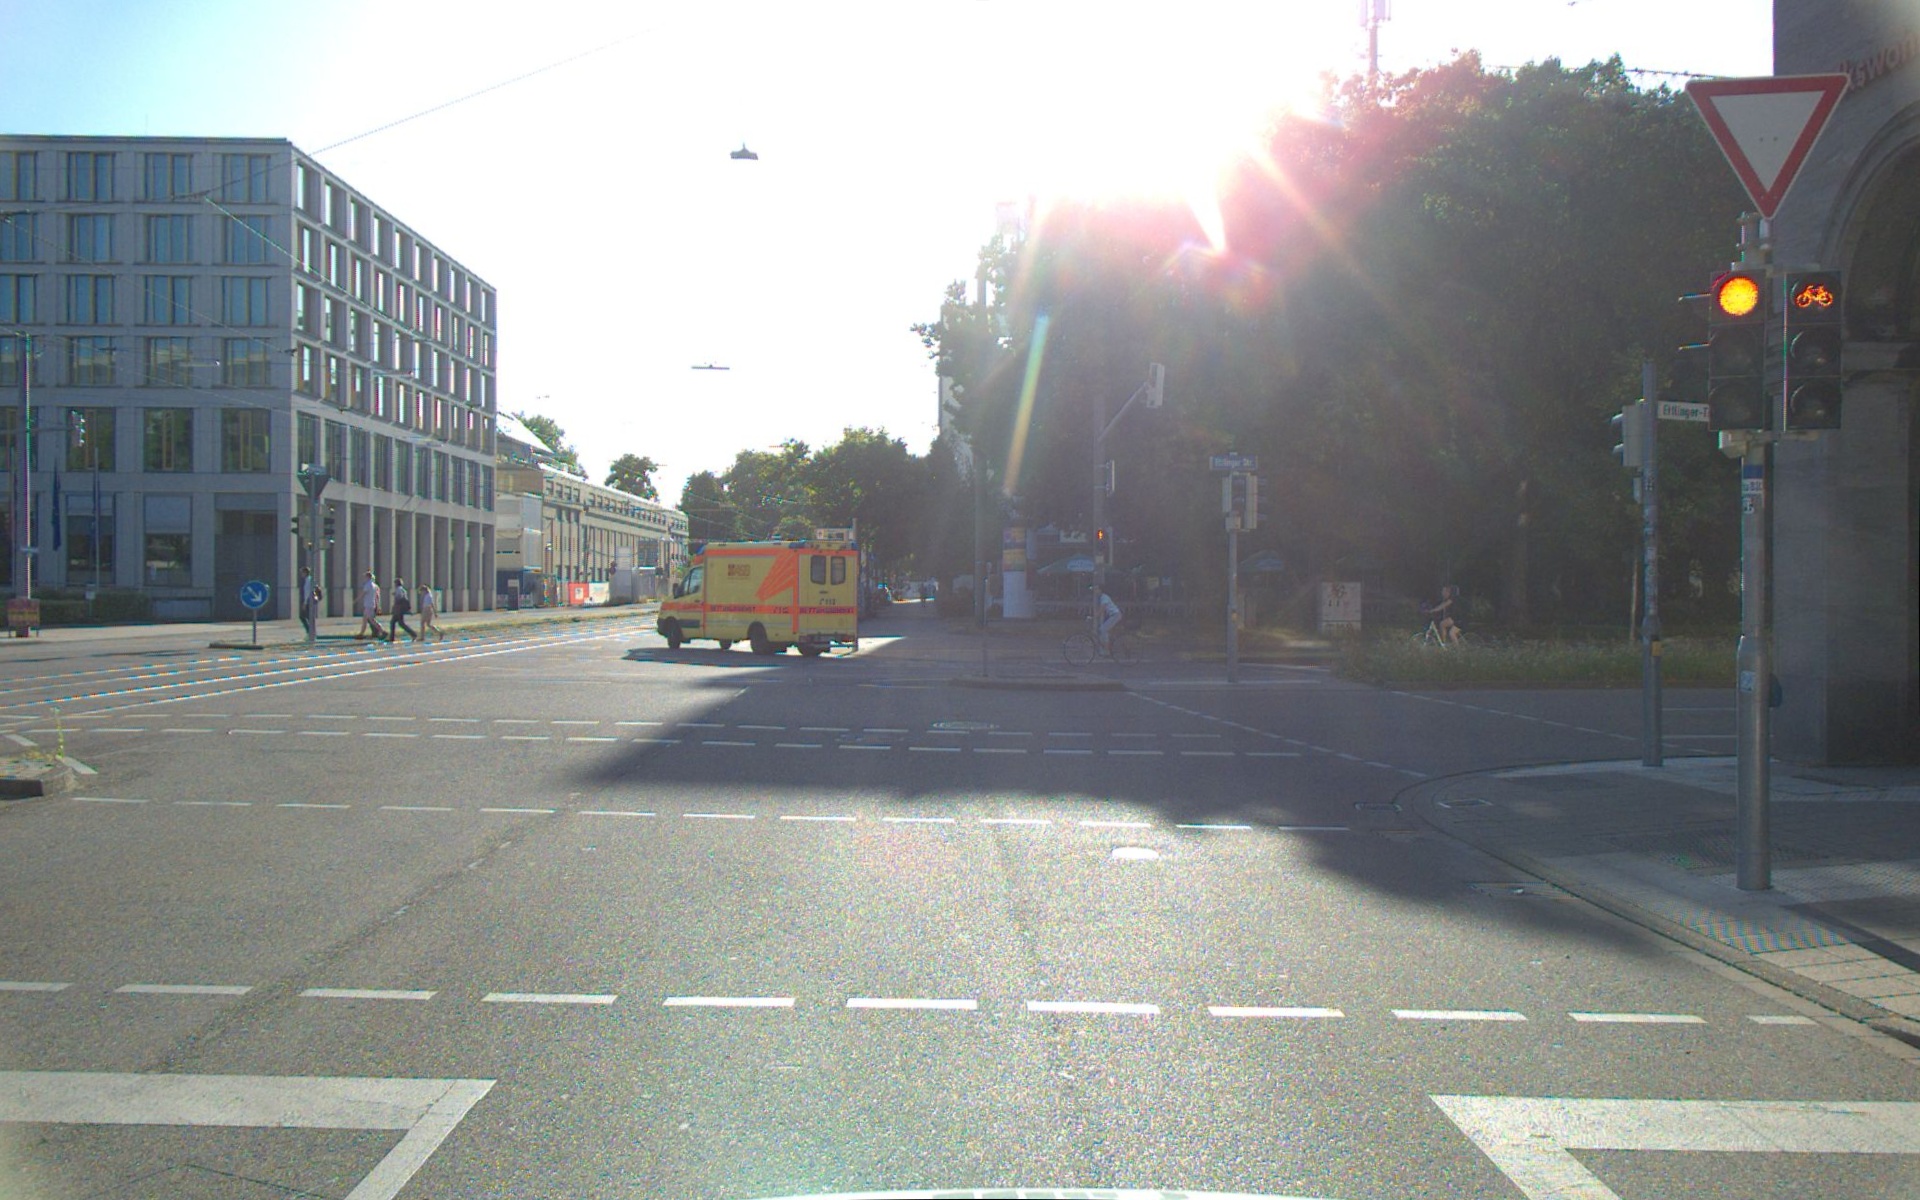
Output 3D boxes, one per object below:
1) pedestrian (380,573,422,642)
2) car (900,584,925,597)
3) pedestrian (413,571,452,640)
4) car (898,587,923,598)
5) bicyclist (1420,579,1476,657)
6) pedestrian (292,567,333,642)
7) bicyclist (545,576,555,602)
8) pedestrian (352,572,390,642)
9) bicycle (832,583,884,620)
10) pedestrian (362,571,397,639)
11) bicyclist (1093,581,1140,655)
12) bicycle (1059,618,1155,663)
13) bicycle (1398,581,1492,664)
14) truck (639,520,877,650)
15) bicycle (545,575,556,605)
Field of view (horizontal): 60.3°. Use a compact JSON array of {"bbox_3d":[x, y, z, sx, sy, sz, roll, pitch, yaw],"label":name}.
[{"bbox_3d":[-14.795,0.197,43.794,0.852,1.835,0.664,0,0,4],"label":"pedestrian"},{"bbox_3d":[-6.141,-1.173,213.356,3.152,1.616,1.445,1,0,-5],"label":"car"},{"bbox_3d":[-14.253,0.150,44.719,0.851,1.835,0.532,0,0,4],"label":"pedestrian"},{"bbox_3d":[-6.317,-0.957,211.142,3.152,1.285,1.373,1,0,-1],"label":"car"},{"bbox_3d":[10.589,0.395,35.896,1.052,1.669,0.597,0,0,3],"label":"bicyclist"},{"bbox_3d":[-16.863,0.115,43.092,0.785,1.951,0.637,0,0,4],"label":"pedestrian"},{"bbox_3d":[-32.125,-0.883,129.634,0.559,2.059,0.761,0,0,-2],"label":"bicyclist"},{"bbox_3d":[-15.759,0.184,44.235,0.723,1.835,0.716,0,0,4],"label":"pedestrian"},{"bbox_3d":[-4.999,0.081,81.289,2.495,1.774,1.037,1,0,-1],"label":"bicycle"},{"bbox_3d":[-15.823,0.129,45.102,0.723,1.835,0.532,0,0,4],"label":"pedestrian"},{"bbox_3d":[3.391,0.382,35.841,0.955,1.587,0.574,0,0,-2],"label":"bicyclist"},{"bbox_3d":[3.179,0.877,35.827,2.023,0.949,0.574,0,0,-2],"label":"bicycle"},{"bbox_3d":[10.520,0.480,35.903,1.857,1.765,0.597,0,0,3],"label":"bicycle"},{"bbox_3d":[-5.255,-0.358,42.262,6.380,3.068,2.706,0,0,45],"label":"truck"},{"bbox_3d":[-32.122,-0.764,129.690,0.559,2.336,1.422,0,0,-2],"label":"bicycle"}]
